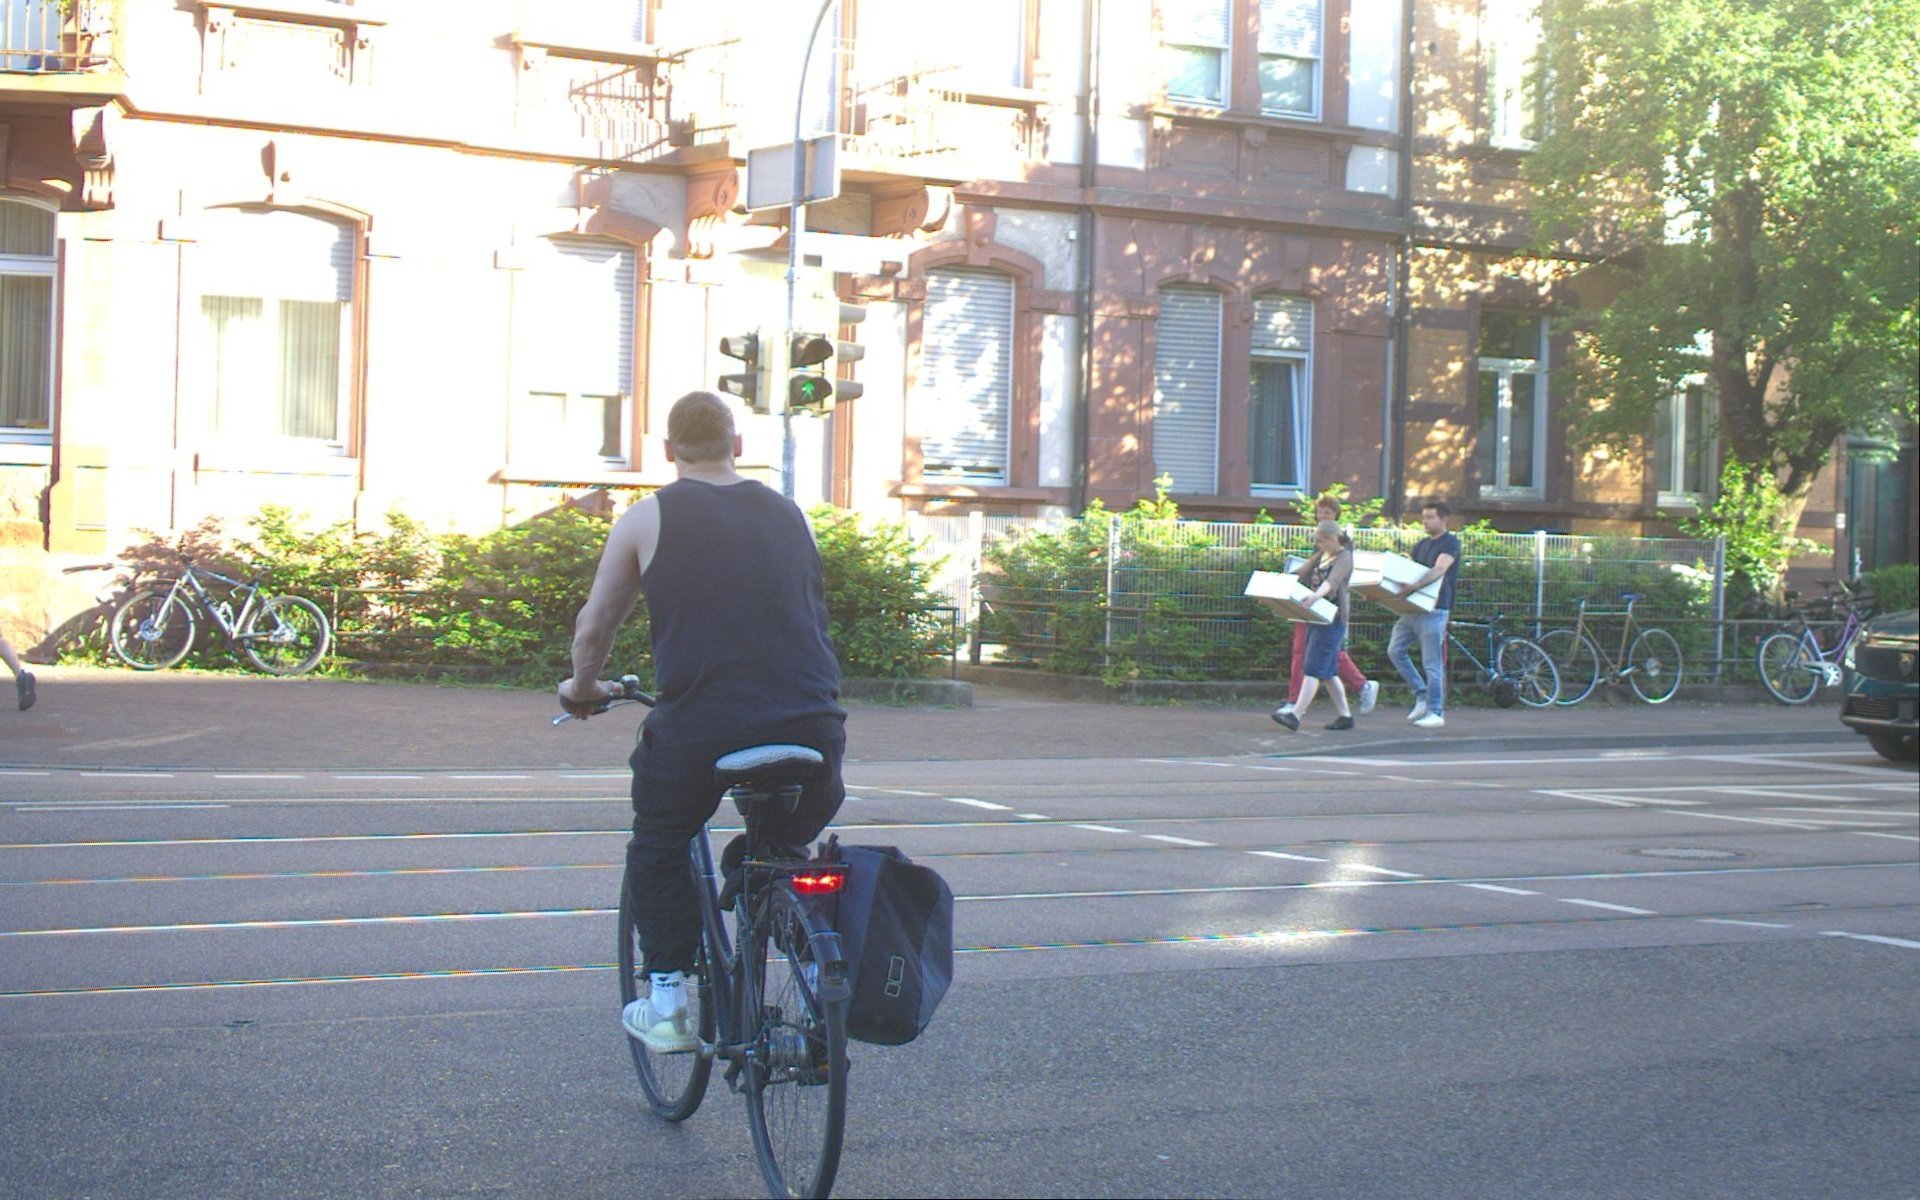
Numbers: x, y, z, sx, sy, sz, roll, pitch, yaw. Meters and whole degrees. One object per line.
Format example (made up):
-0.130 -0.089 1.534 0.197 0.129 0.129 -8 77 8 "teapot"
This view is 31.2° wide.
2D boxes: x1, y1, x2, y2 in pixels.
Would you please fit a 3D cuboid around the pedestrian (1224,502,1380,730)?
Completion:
2.601 0.118 26.188 0.895 1.659 0.712 2 4 -16 "pedestrian"

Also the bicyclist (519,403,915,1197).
-0.567 0.414 7.714 0.686 1.650 0.990 1 0 -15 "bicyclist"

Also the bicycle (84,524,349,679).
-5.917 0.010 27.394 1.960 1.103 0.443 4 1 1 "bicycle"

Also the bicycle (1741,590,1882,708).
7.782 0.448 31.421 1.229 1.035 0.443 1 2 -28 "bicycle"

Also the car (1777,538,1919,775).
8.344 0.433 25.399 4.396 1.644 1.948 1 0 -33 "car"

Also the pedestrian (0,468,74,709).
-6.814 -0.102 23.978 0.903 1.629 0.724 5 3 25 "pedestrian"

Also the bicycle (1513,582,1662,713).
5.506 0.420 30.166 1.229 1.103 0.443 1 2 -27 "bicycle"

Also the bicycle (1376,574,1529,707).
4.232 0.352 29.541 1.229 1.103 0.443 1 2 -27 "bicycle"

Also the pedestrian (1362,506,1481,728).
3.634 0.127 27.118 0.634 1.709 0.664 2 1 -20 "pedestrian"

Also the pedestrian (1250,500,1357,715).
2.777 0.055 27.842 0.634 1.709 0.521 2 1 -20 "pedestrian"
